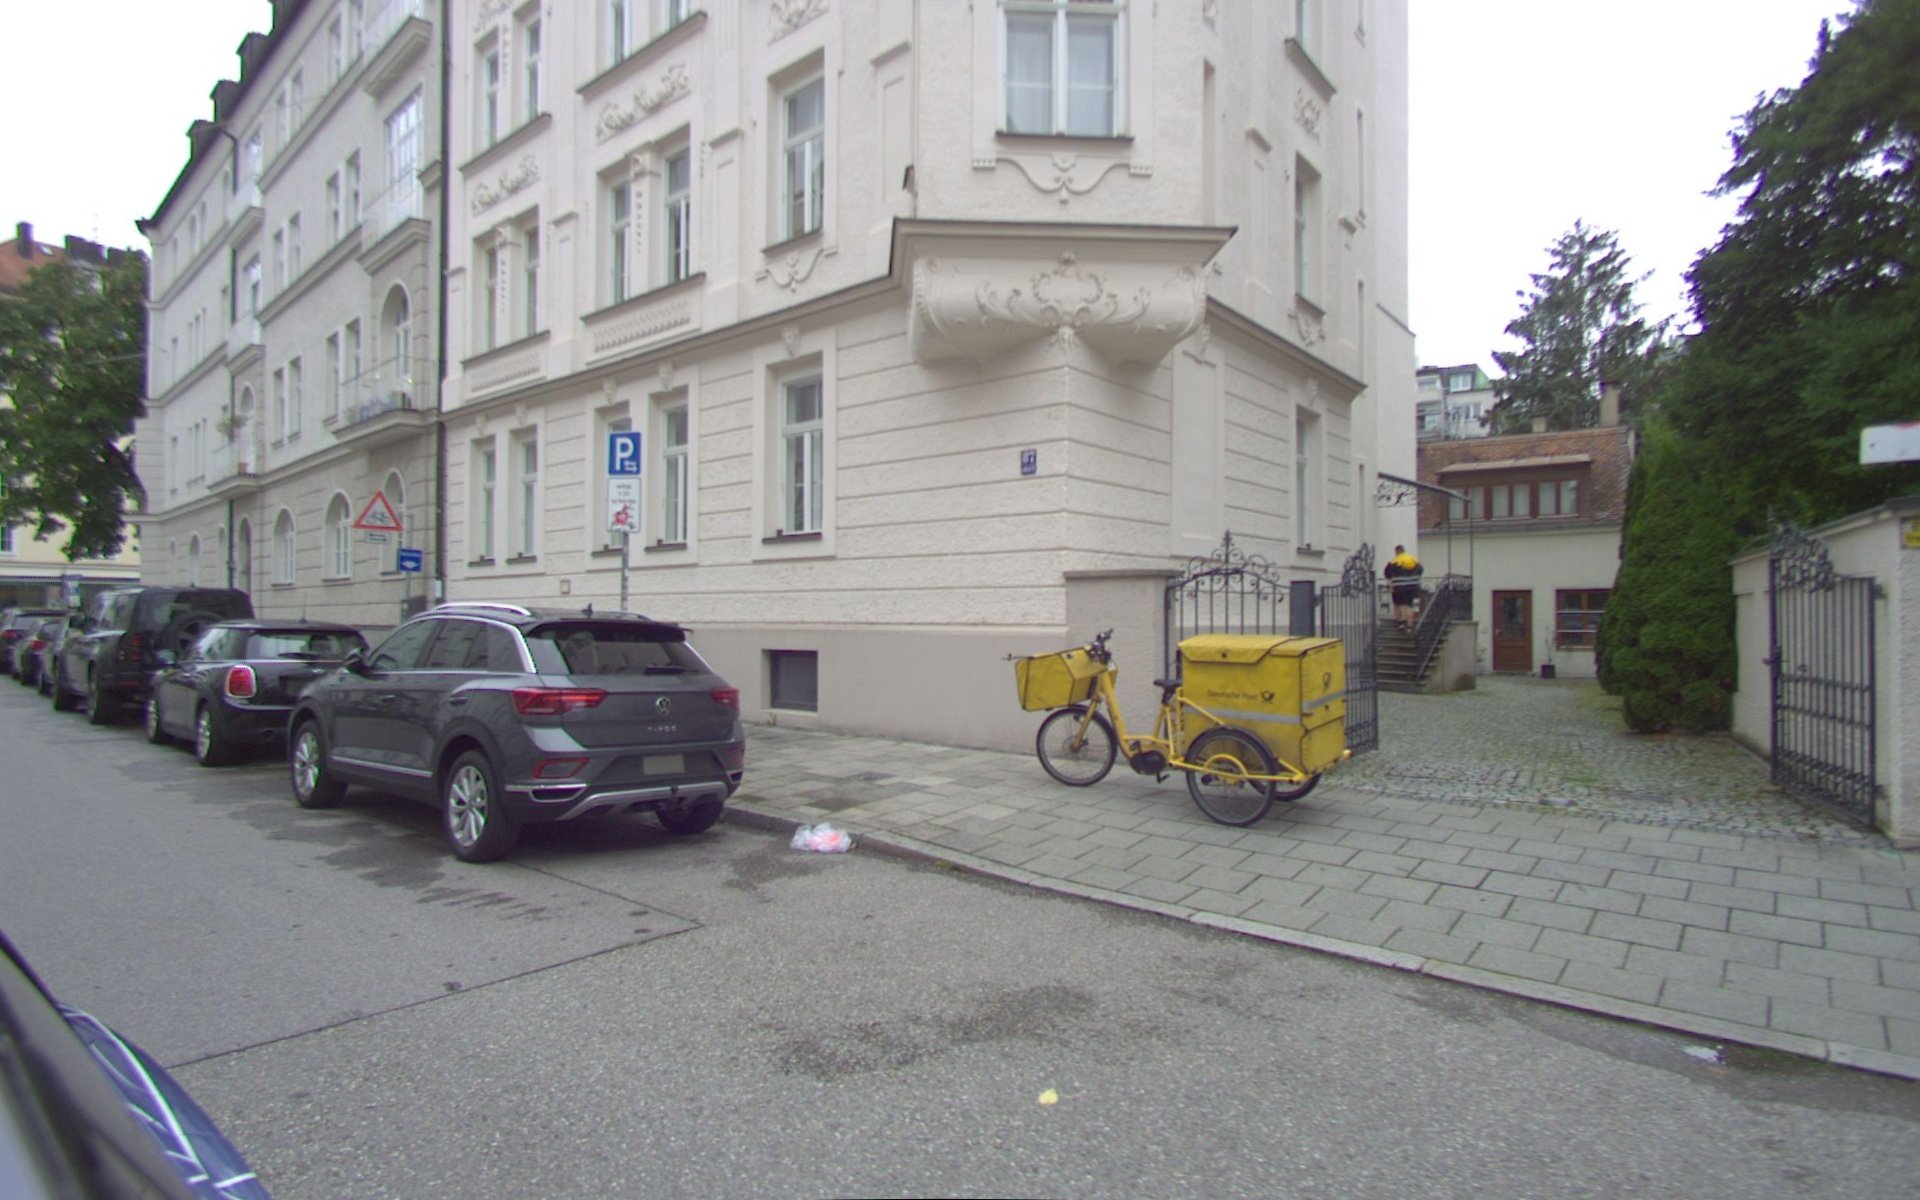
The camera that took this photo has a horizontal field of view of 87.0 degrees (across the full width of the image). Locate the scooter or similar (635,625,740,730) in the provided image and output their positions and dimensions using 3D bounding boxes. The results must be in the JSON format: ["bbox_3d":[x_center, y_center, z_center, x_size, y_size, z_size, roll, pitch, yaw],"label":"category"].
[{"bbox_3d":[-3.422,0.928,12.652,1.547,1.231,0.488,-1,-1,41],"label":"scooter or similar"}]

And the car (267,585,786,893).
[{"bbox_3d":[-3.305,0.795,7.362,4.117,1.631,1.709,-1,-3,39],"label":"car"}]

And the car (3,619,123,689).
[{"bbox_3d":[-20.120,1.159,22.656,4.092,1.417,1.636,-1,-3,44],"label":"car"}]

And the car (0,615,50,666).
[{"bbox_3d":[-31.837,1.302,33.634,3.945,1.580,1.678,0,-1,38],"label":"car"}]

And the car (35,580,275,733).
[{"bbox_3d":[-11.936,0.789,14.885,4.760,1.909,1.817,-1,-3,40],"label":"car"}]

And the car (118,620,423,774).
[{"bbox_3d":[-7.860,0.963,11.379,4.243,1.405,1.817,-1,-3,42],"label":"car"}]

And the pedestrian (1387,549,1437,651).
[{"bbox_3d":[8.745,-0.001,19.609,0.816,1.922,0.835,0,-1,22],"label":"pedestrian"}]

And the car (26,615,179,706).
[{"bbox_3d":[-16.011,1.067,18.859,3.529,1.525,1.599,-1,-3,40],"label":"car"}]

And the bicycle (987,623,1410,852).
[{"bbox_3d":[1.620,0.838,7.270,2.715,1.251,1.140,-1,3,41],"label":"bicycle"}]

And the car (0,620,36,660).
[{"bbox_3d":[-35.138,1.436,36.810,4.475,1.403,1.664,-1,-2,40],"label":"car"}]

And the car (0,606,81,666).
[{"bbox_3d":[-27.898,1.054,30.277,4.210,1.690,1.817,-1,-2,40],"label":"car"}]

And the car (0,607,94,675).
[{"bbox_3d":[-24.119,1.031,26.418,4.434,1.611,1.855,-1,-2,44],"label":"car"}]
